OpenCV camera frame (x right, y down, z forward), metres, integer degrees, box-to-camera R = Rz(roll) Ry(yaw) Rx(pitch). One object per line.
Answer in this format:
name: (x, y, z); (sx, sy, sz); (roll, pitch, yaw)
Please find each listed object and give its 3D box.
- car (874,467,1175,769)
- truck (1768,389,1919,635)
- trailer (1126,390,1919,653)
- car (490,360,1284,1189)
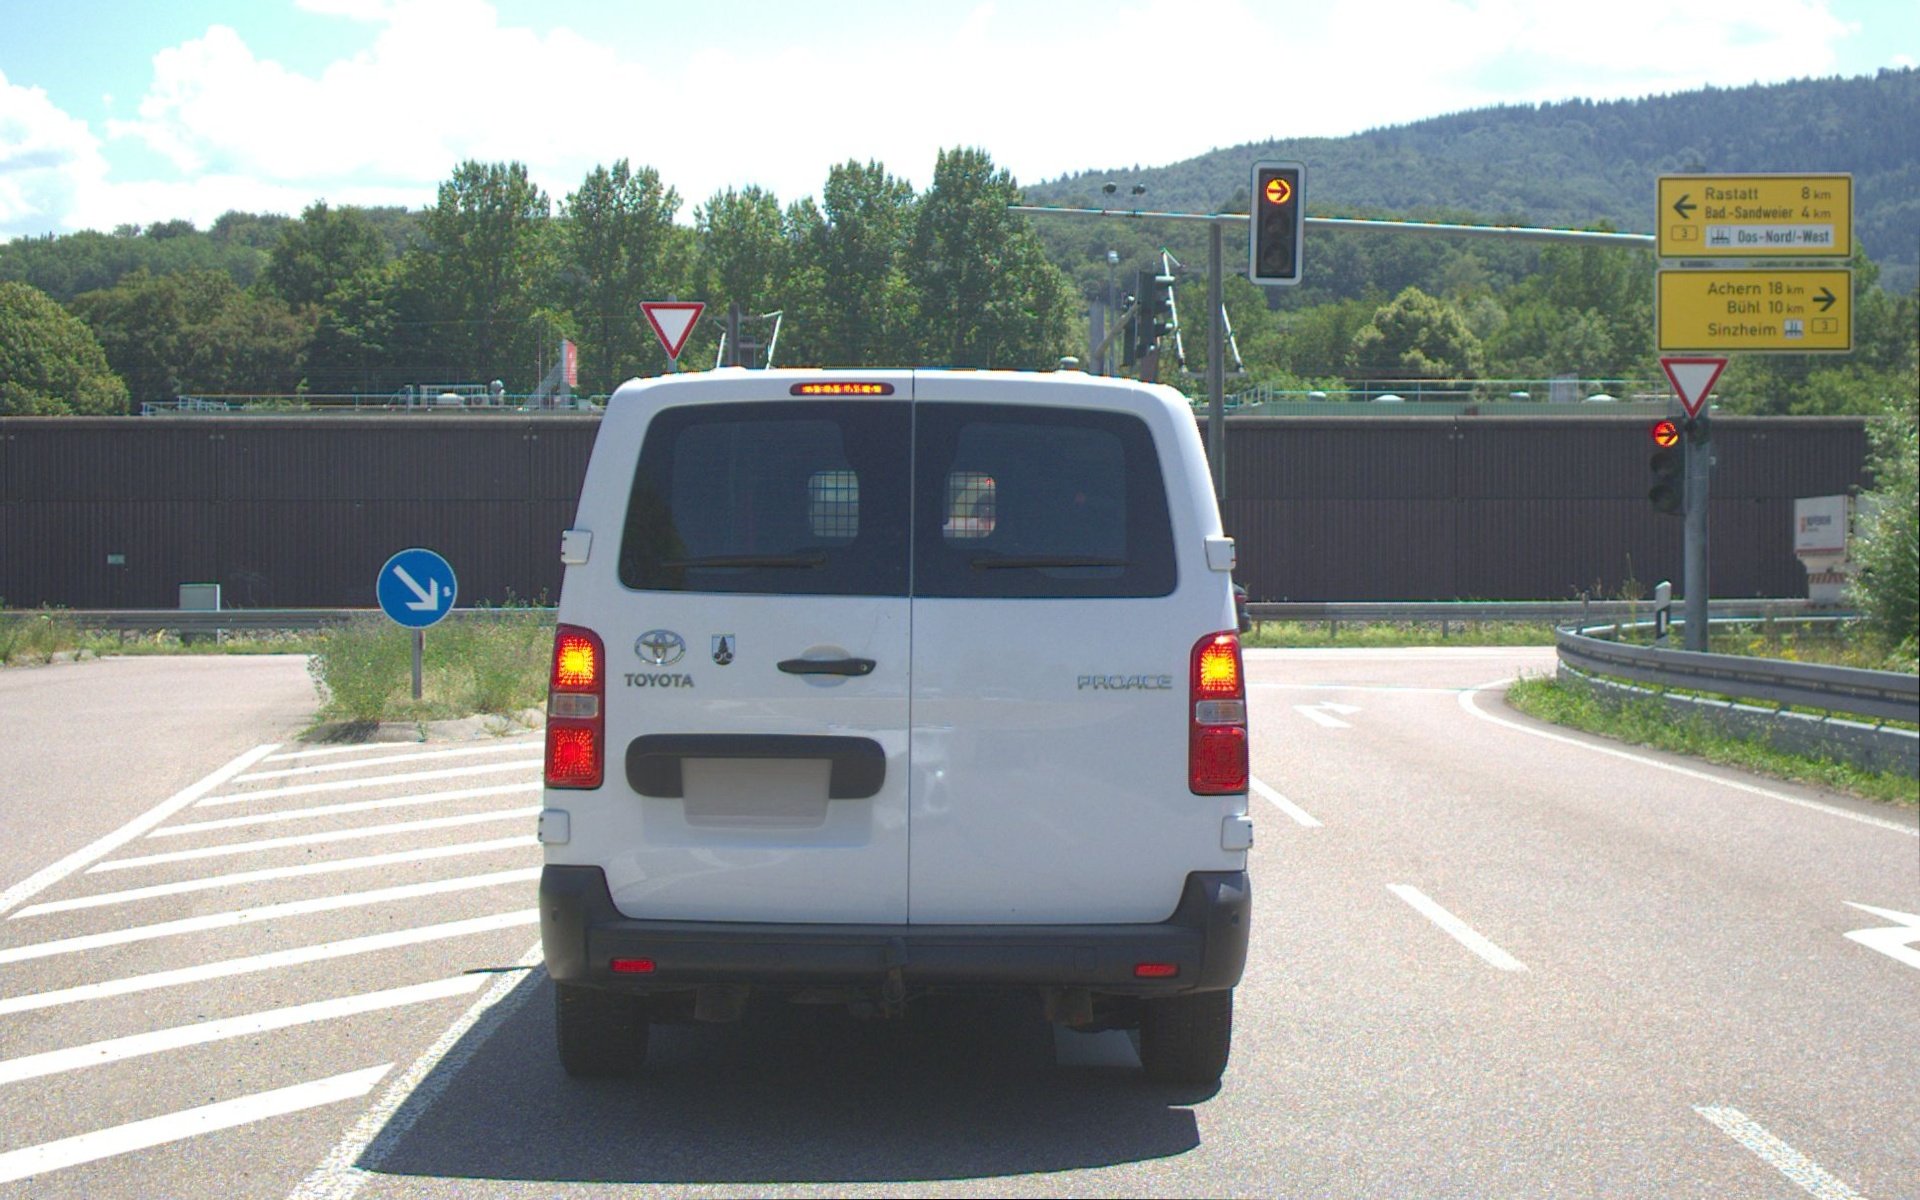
car: (0.420, 0.103, 25.362); (1.993, 2.006, 4.000); (-1, 1, -1)
truck: (15.896, -1.381, 50.600); (7.404, 3.492, 2.233); (-1, 2, -3)
trailer: (8.711, -1.185, 50.270); (12.319, 3.492, 2.233); (-1, 2, -3)
car: (-0.205, 0.393, 10.198); (1.870, 1.958, 4.000); (1, 1, -1)
